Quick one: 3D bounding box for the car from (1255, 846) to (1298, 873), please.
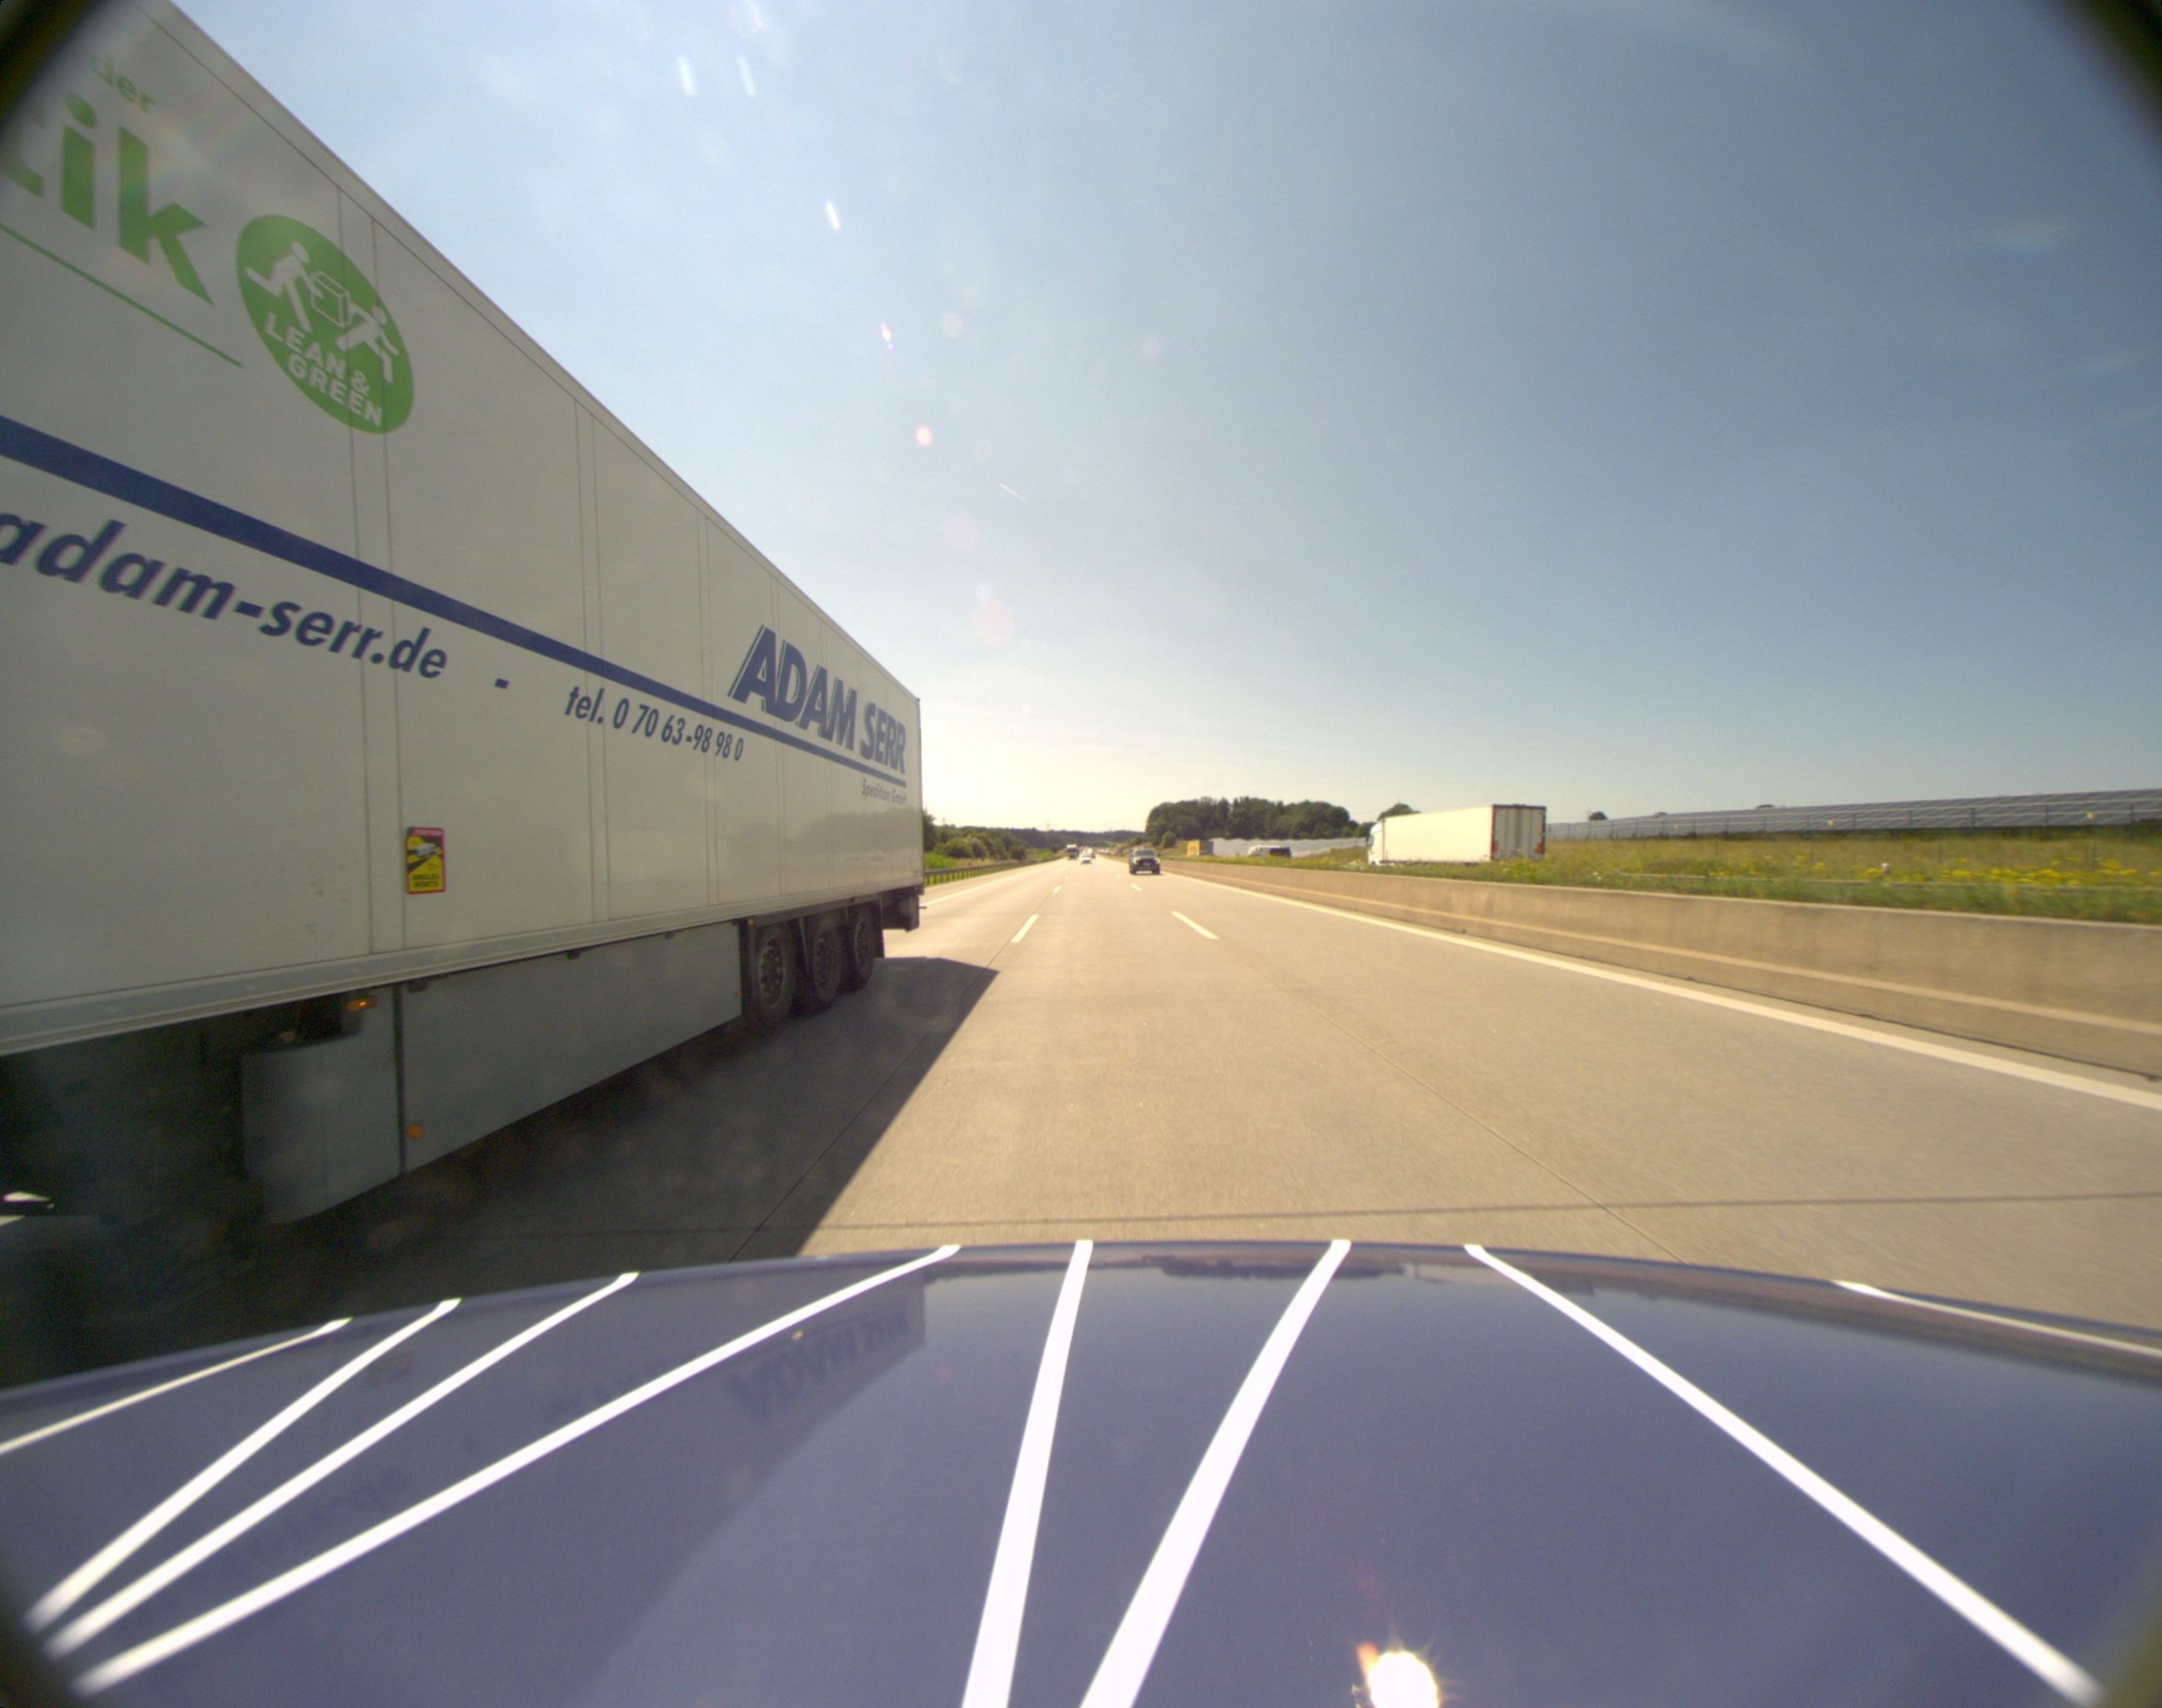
[{"bbox_3d":[15.065,0.398,58.827,2.076,1.960,5.031,-3,0,1],"label":"car"}]

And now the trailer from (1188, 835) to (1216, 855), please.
[{"bbox_3d":[22.376,-1.692,141.285,2.939,3.530,14.018,0,1,1],"label":"trailer"}]

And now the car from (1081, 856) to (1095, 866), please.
[{"bbox_3d":[1.082,1.060,120.437,2.065,1.472,5.068,-1,0,0],"label":"car"}]

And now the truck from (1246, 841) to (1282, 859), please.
[{"bbox_3d":[21.895,-0.478,91.096,2.523,2.002,7.629,-2,1,1],"label":"truck"}]

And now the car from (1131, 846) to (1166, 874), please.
[{"bbox_3d":[4.810,0.400,55.046,1.998,1.836,6.529,-2,1,1],"label":"car"}]

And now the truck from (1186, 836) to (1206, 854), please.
[{"bbox_3d":[22.430,-1.784,148.113,2.930,3.519,6.346,1,1,0],"label":"truck"}]

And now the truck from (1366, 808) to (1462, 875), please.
[{"bbox_3d":[21.640,-0.808,49.904,3.098,3.981,7.253,-2,1,1],"label":"truck"}]

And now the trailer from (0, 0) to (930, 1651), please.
[{"bbox_3d":[-3.861,-0.259,5.766,2.860,4.019,12.711,-2,0,0],"label":"trailer"}]

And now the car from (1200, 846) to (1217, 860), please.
[{"bbox_3d":[14.701,-0.145,87.837,1.327,1.523,3.252,-3,0,1],"label":"car"}]

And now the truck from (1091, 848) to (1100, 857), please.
[{"bbox_3d":[4.111,-0.324,214.168,2.262,2.461,6.614,-2,0,1],"label":"truck"}]

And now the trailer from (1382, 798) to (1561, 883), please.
[{"bbox_3d":[21.590,-0.729,43.629,3.098,3.981,14.139,-2,1,1],"label":"trailer"}]

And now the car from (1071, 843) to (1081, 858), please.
[{"bbox_3d":[-1.344,-1.032,210.350,2.766,4.029,10.852,-1,0,1],"label":"car"}]

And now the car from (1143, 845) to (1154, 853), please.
[{"bbox_3d":[15.341,-1.049,171.667,1.998,1.718,5.389,-2,1,1],"label":"car"}]
